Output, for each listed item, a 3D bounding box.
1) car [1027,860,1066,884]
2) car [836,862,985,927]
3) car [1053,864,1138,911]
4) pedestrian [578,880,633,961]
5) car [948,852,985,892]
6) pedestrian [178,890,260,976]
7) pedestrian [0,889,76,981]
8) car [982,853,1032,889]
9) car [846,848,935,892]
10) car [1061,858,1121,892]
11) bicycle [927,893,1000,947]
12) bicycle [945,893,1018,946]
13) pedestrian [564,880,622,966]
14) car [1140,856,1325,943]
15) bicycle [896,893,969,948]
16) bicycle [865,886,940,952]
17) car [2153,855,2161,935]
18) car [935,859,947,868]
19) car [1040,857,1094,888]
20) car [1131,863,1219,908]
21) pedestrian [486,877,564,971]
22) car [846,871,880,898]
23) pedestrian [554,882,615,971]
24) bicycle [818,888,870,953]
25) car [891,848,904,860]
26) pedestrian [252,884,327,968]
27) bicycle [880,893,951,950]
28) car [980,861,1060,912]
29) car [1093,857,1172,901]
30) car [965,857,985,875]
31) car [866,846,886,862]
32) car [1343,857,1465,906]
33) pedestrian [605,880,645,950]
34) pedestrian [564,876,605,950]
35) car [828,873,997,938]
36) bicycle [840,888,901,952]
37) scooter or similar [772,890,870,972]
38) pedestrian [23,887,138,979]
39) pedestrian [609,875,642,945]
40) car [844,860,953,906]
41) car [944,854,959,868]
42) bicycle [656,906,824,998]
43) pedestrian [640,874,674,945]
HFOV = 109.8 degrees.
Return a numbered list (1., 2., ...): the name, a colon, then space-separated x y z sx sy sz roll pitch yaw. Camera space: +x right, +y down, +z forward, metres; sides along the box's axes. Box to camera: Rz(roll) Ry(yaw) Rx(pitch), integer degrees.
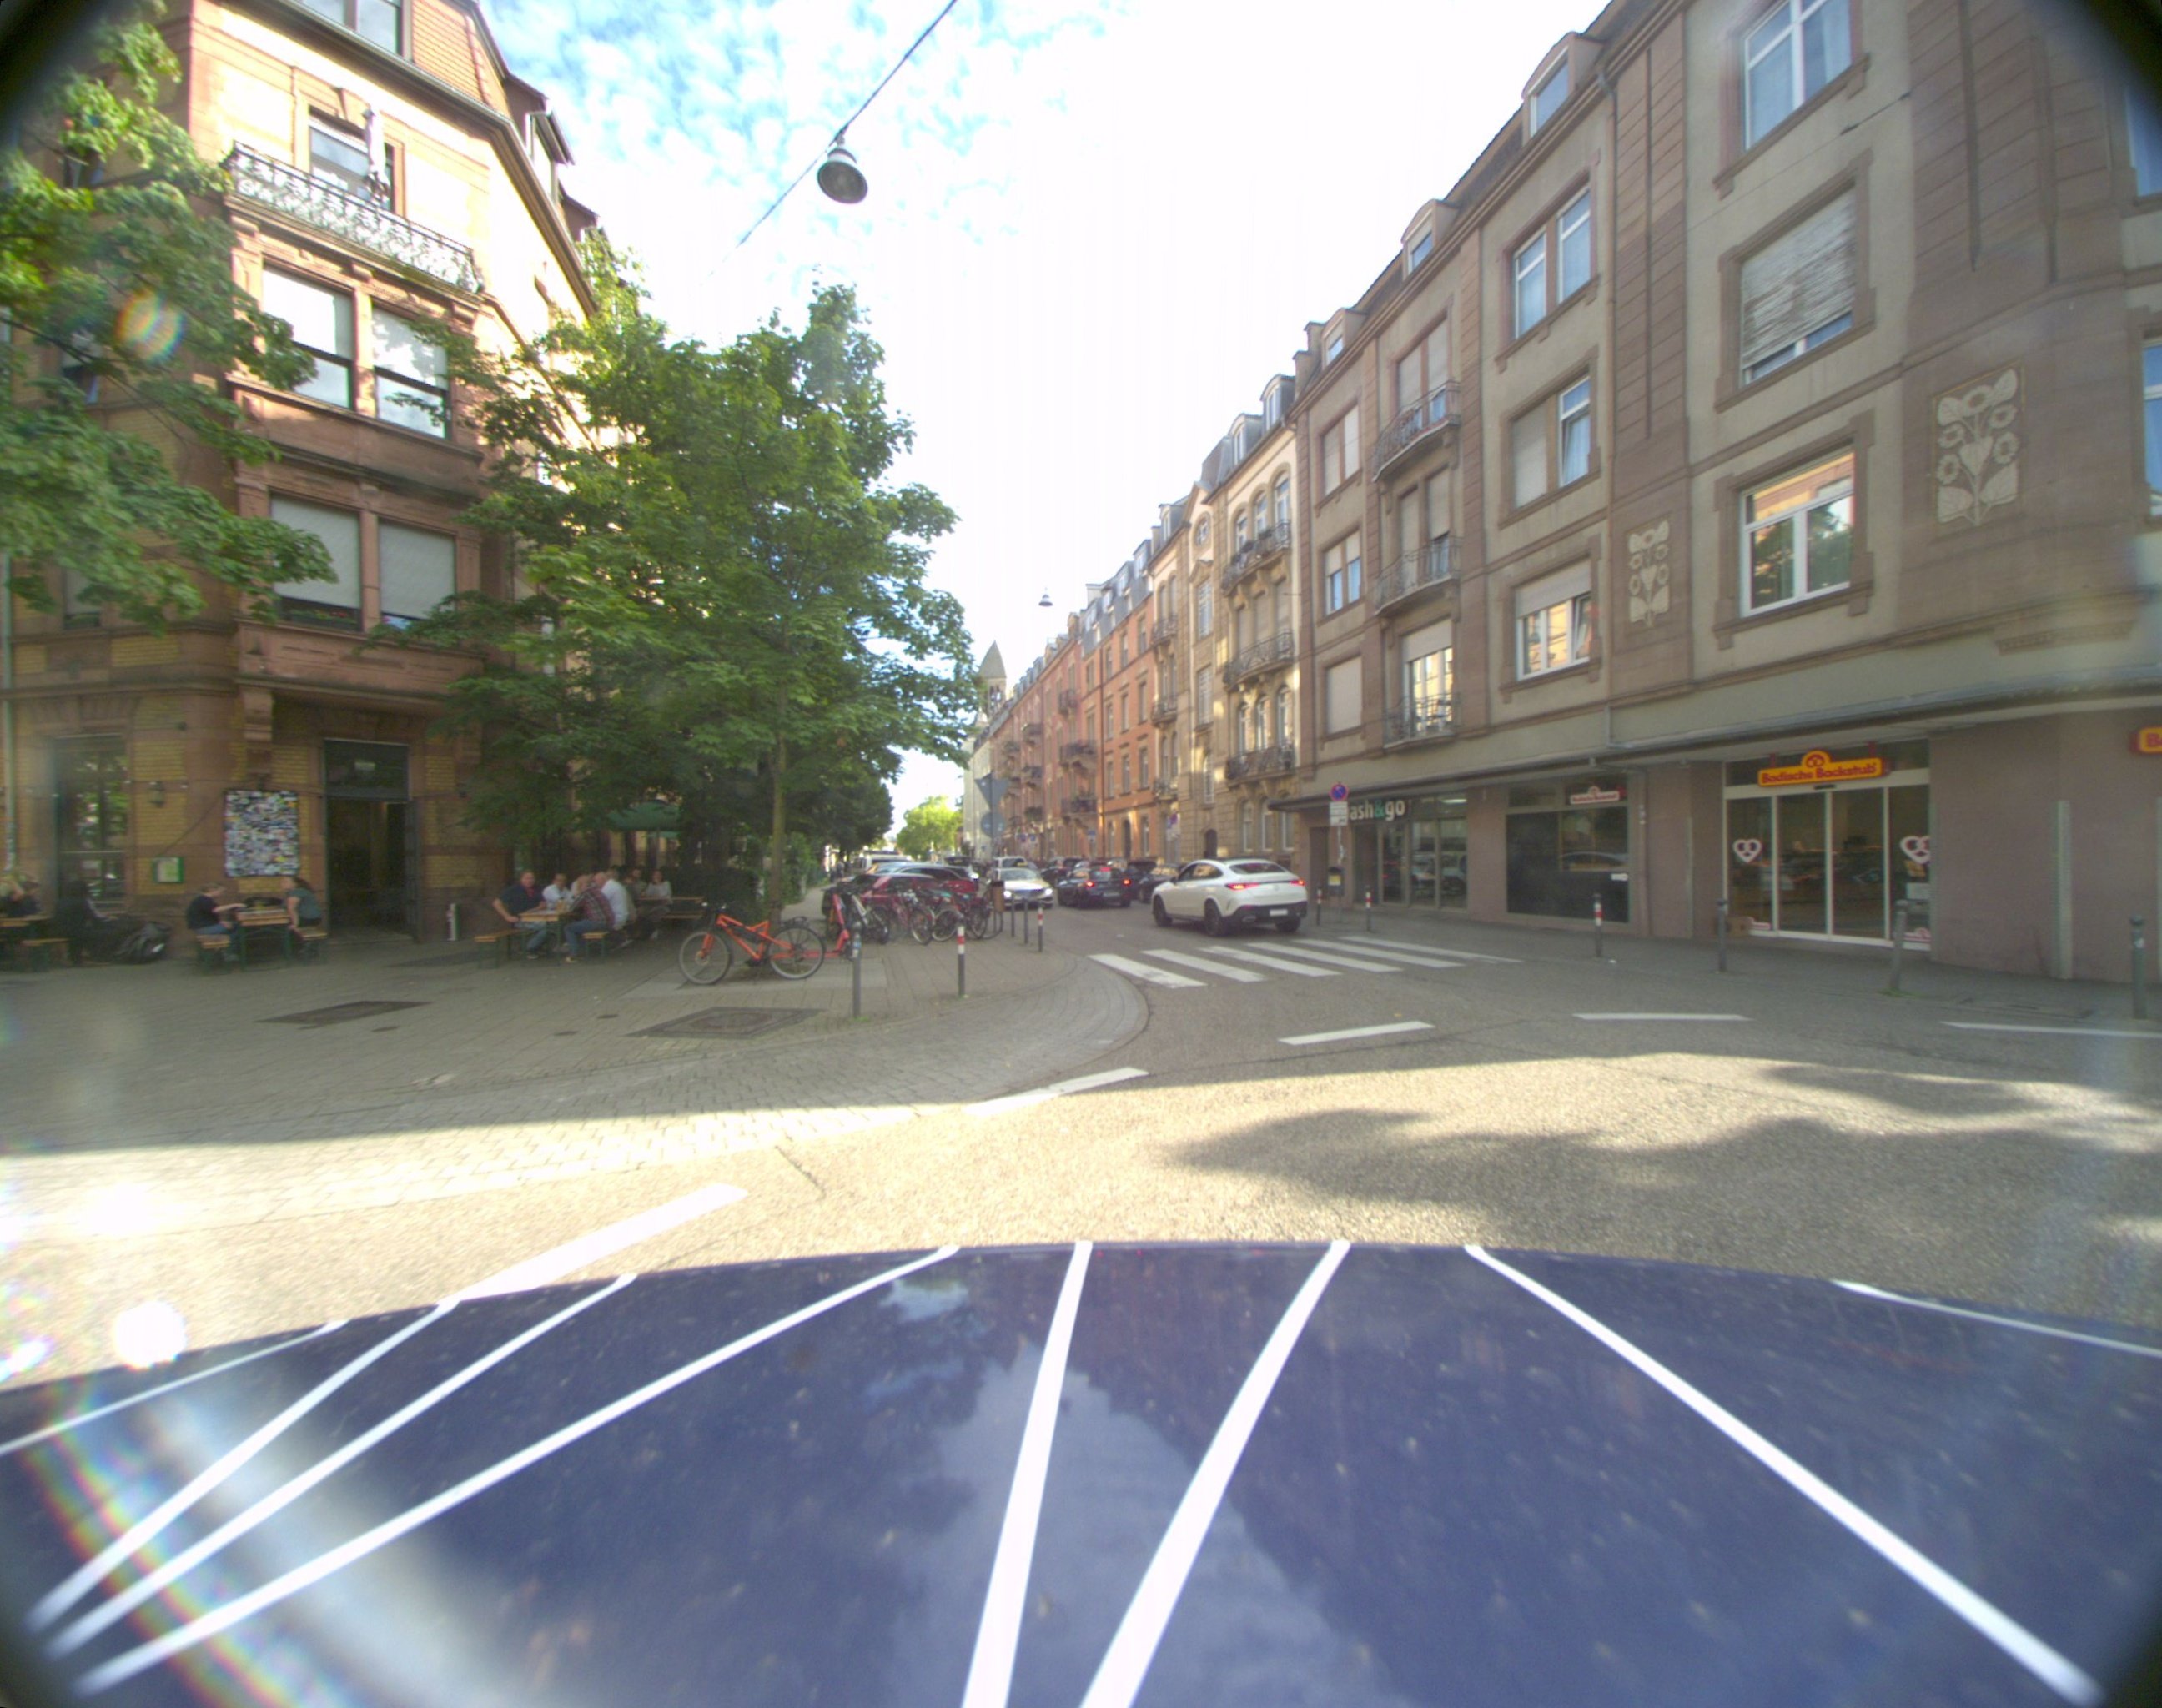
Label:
1. car: -2.175 1.070 46.587 1.627 1.371 3.757 -1 0 -14
2. car: -4.556 1.062 20.537 3.595 1.605 1.509 2 -1 -38
3. car: 0.398 1.093 26.633 1.771 1.373 4.445 -3 1 -15
4. pedestrian: -8.001 1.094 12.817 0.730 1.307 0.606 0 0 -27
5. car: -6.386 0.963 42.004 1.794 2.051 3.996 -1 0 -12
6. pedestrian: -13.078 1.179 11.540 0.511 1.218 0.642 1 3 18
7. pedestrian: -15.959 1.199 11.408 0.628 1.278 0.769 -1 2 8
8. car: -4.341 0.963 43.839 1.946 1.869 4.830 -2 0 -16
9. car: -11.313 0.898 45.455 1.994 2.409 4.748 -2 0 43
10. car: 0.428 0.987 36.753 1.764 1.488 4.127 -2 0 -16
11. bicycle: -2.469 1.350 15.836 1.859 0.979 0.473 1 0 44
12. bicycle: -2.132 1.363 16.132 1.859 0.979 0.473 1 0 44
13. pedestrian: -7.798 1.086 12.166 0.730 1.307 0.520 0 0 -27
14. car: 3.148 0.930 17.038 2.001 1.624 4.837 -1 -1 -17
15. bicycle: -3.057 1.333 15.493 1.859 0.979 0.473 1 0 44
16. bicycle: -3.486 1.231 14.733 1.833 1.136 0.476 1 0 44
17. car: 21.189 0.693 12.401 1.768 1.421 3.992 -2 0 -24
18. car: -22.976 1.543 124.841 1.627 1.371 3.757 -1 0 -14
19. car: -0.848 0.984 41.696 1.764 1.589 4.335 -2 0 -18
20. car: 3.165 1.017 26.375 1.725 1.360 3.825 -2 0 -14
21. pedestrian: -8.610 1.055 11.781 0.715 1.371 0.670 0 1 20
22. car: -15.966 2.214 55.819 1.735 1.792 3.997 -2 0 -8
23. pedestrian: -7.628 1.099 11.698 0.730 1.307 0.520 0 0 -27
24. bicycle: -4.476 1.216 14.269 0.435 1.094 1.670 1 0 -35
25. car: -29.736 -0.032 123.169 2.001 1.877 3.996 -2 0 -13
26. pedestrian: -12.762 1.143 12.268 0.511 1.252 0.642 1 3 18
27. bicycle: -3.320 1.315 15.104 1.833 0.979 0.419 1 0 44
28. car: -2.315 1.101 27.647 1.946 1.588 4.830 -2 0 -16
29. car: 1.996 0.943 30.719 1.863 1.575 4.392 -2 1 -14
30. car: -11.189 1.219 79.904 1.686 1.775 4.015 -1 0 -14
31. car: -23.869 -0.012 88.273 1.852 1.724 3.993 -2 0 -20
32. car: 12.146 0.987 28.596 4.004 1.611 1.996 -2 0 -23
33. pedestrian: -8.512 1.118 14.173 0.549 1.225 0.620 -1 1 -39
34. pedestrian: -9.118 1.067 13.943 0.549 1.293 0.620 -1 1 -39
35. car: -3.931 1.168 18.047 3.596 1.372 1.509 2 -1 -40
36. bicycle: -4.052 1.225 14.575 0.476 1.094 1.670 1 0 -39
37. scooter or similar: -3.936 1.151 11.553 1.291 1.203 0.557 0 -2 9
38. pedestrian: -15.021 1.163 11.424 0.628 1.278 0.769 -1 2 8
39. pedestrian: -8.973 1.086 14.968 0.468 1.319 0.620 -1 1 -39
40. car: -6.715 1.074 28.143 3.595 1.602 1.509 2 -1 -38
41. car: -17.775 0.974 104.246 1.729 1.921 4.006 -1 0 -14
42. bicycle: -4.280 1.213 9.674 1.858 1.029 0.683 0 0 -16
43. pedestrian: -8.273 1.060 14.828 0.468 1.319 0.620 -1 1 -39
